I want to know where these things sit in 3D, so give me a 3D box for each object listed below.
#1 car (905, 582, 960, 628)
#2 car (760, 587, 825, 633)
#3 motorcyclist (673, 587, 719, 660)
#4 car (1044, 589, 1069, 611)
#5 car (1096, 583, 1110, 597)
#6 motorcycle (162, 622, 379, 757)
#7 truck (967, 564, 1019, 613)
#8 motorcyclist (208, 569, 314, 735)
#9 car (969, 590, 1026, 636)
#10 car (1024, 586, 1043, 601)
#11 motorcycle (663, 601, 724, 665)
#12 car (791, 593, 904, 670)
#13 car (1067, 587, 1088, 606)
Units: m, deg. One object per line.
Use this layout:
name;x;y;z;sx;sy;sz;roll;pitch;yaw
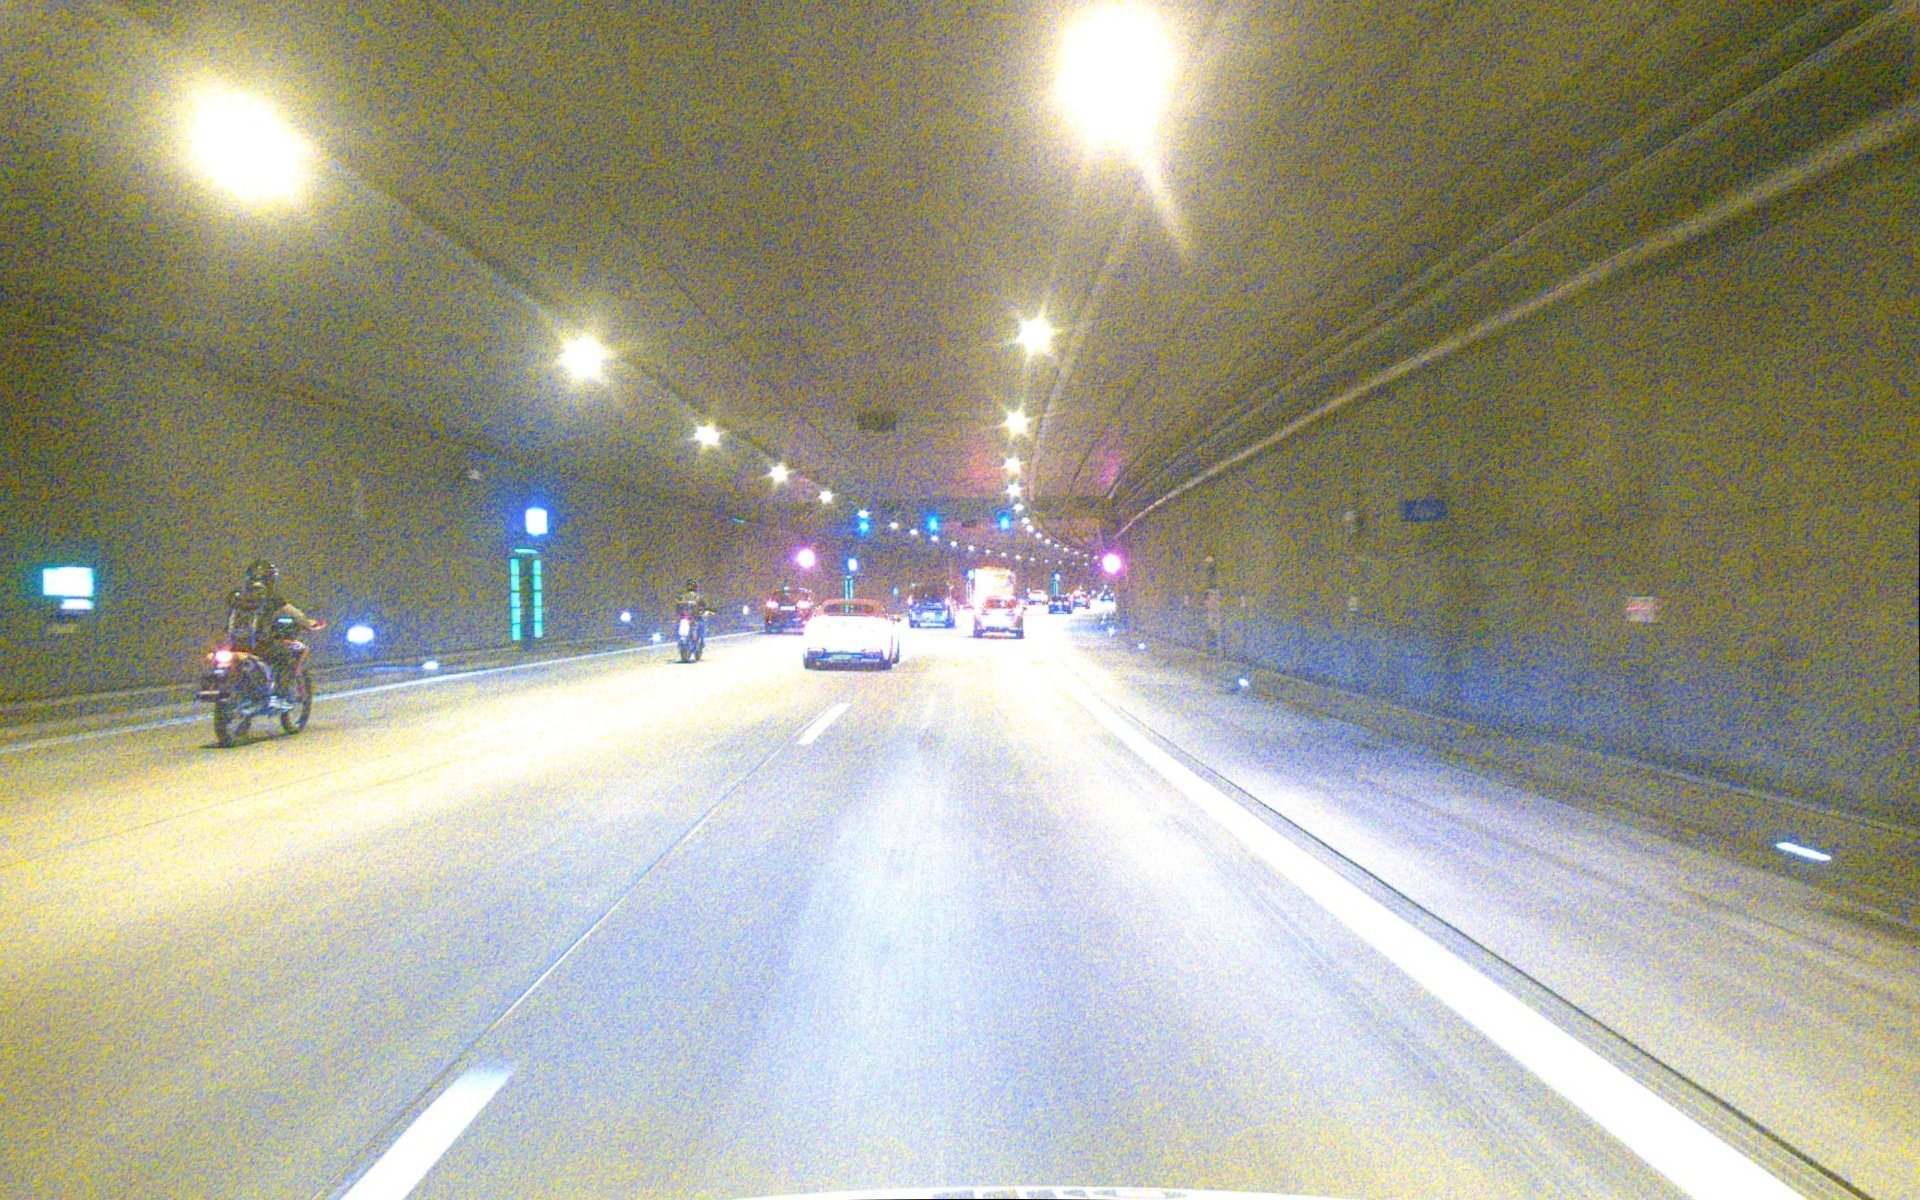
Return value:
car;-1.196;0.207;74.024;1.951;2.006;4.003;0;0;7
car;-6.021;0.342;59.848;1.748;1.626;3.803;0;0;3
motorcyclist;-5.596;0.488;35.077;0.821;1.503;0.822;1;1;1
car;7.491;-0.005;128.596;1.805;1.595;4.002;-2;0;3
car;18.353;-1.238;212.373;1.795;1.720;4.003;-2;0;5
motorcycle;-6.598;0.816;16.013;1.031;1.178;2.428;0;0;1
truck;2.452;-0.905;119.002;3.018;3.167;10.036;-3;1;5
motorcyclist;-6.579;0.478;15.605;0.614;1.515;0.890;-1;-1;0
car;1.389;0.444;59.715;1.801;1.630;4.002;0;0;5
car;8.038;-0.711;181.098;1.792;1.646;4.003;-2;0;5
motorcycle;-5.563;0.666;34.694;0.828;1.267;2.604;0;0;0
car;-2.274;0.611;34.401;1.952;1.509;4.001;-1;0;2
car;11.165;-0.344;156.817;1.819;1.695;4.003;-2;0;7
